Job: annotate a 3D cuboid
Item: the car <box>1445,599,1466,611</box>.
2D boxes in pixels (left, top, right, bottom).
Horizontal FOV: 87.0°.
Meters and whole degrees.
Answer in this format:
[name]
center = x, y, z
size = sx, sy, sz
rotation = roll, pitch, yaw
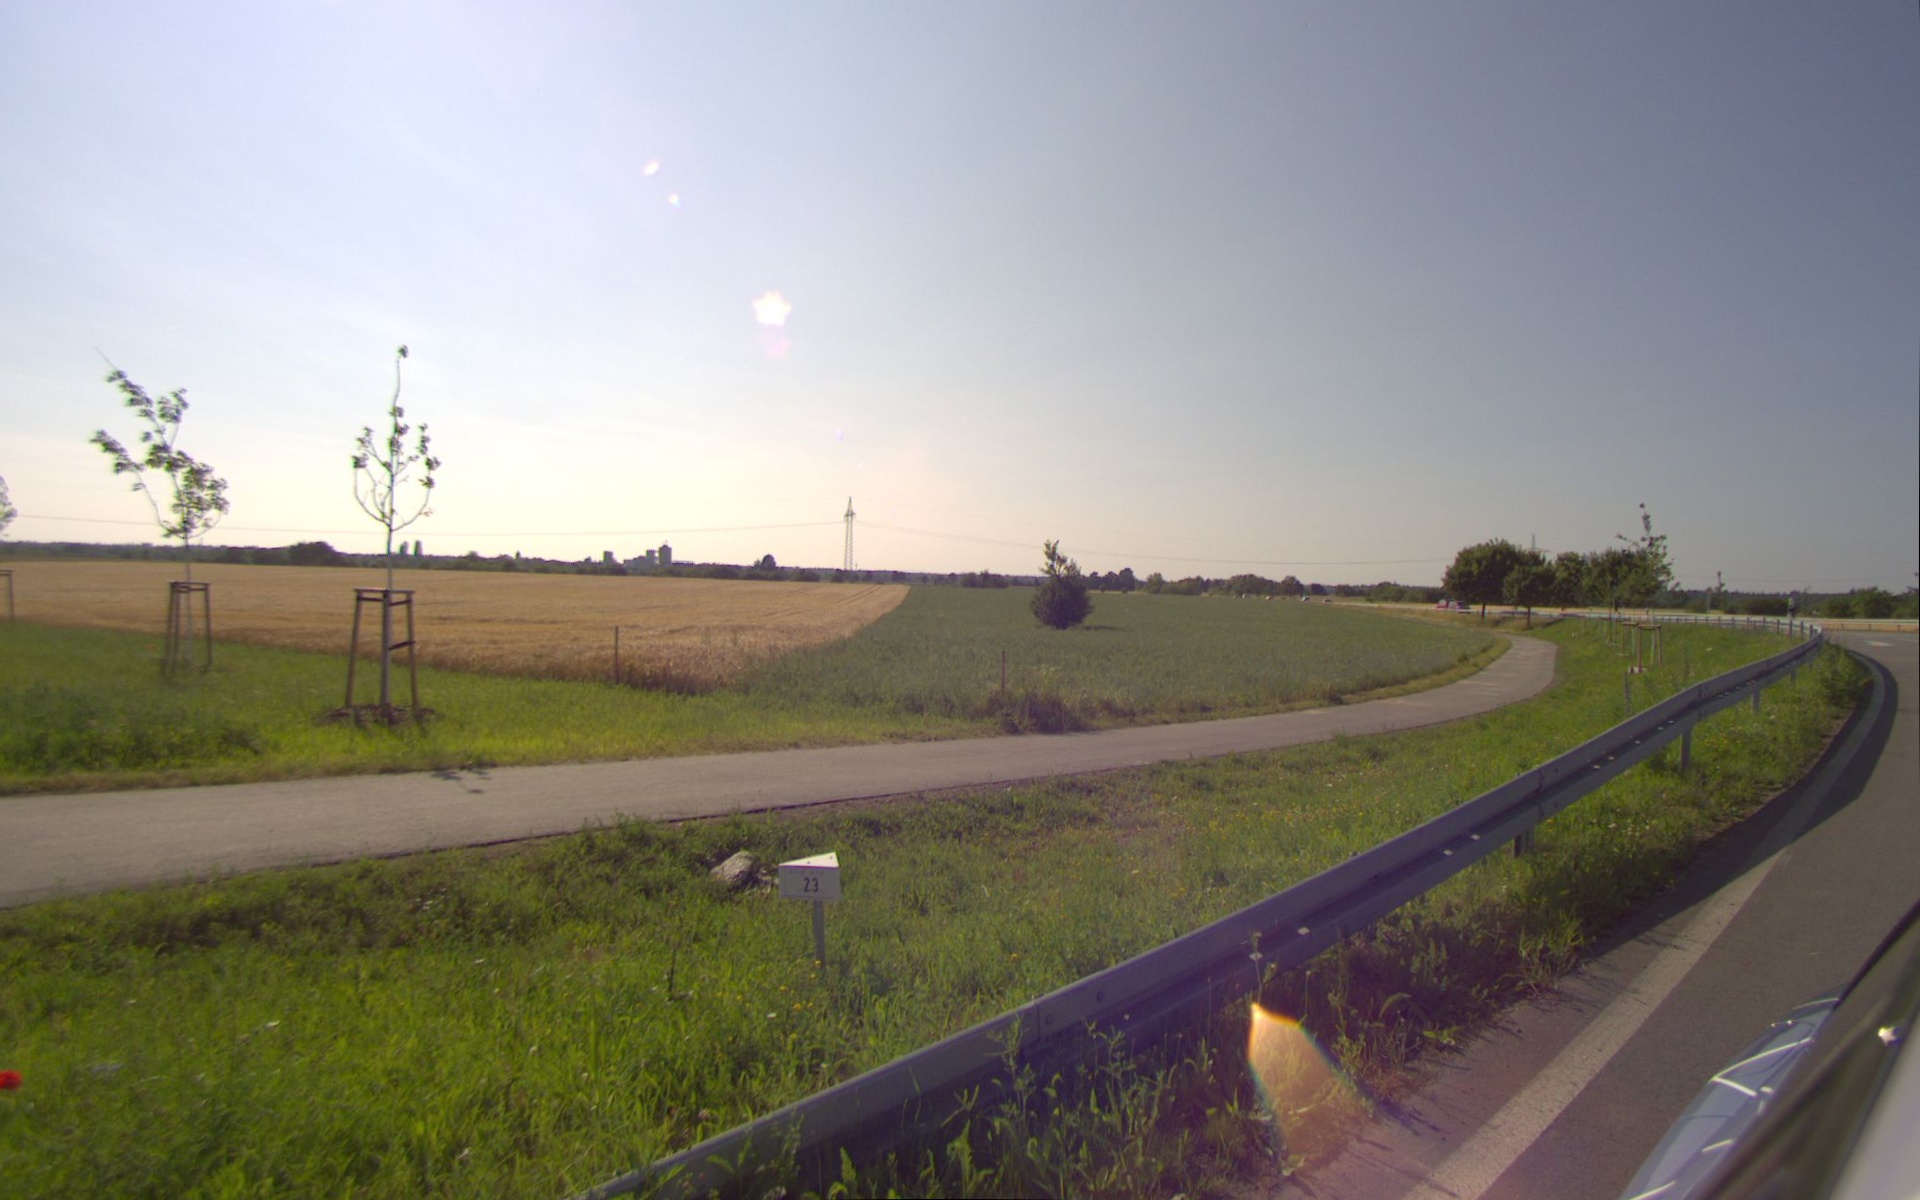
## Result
[car]
center = 76.338, 0.765, 155.945
size = 1.786, 1.694, 3.989
rotation = 0, 0, 10
